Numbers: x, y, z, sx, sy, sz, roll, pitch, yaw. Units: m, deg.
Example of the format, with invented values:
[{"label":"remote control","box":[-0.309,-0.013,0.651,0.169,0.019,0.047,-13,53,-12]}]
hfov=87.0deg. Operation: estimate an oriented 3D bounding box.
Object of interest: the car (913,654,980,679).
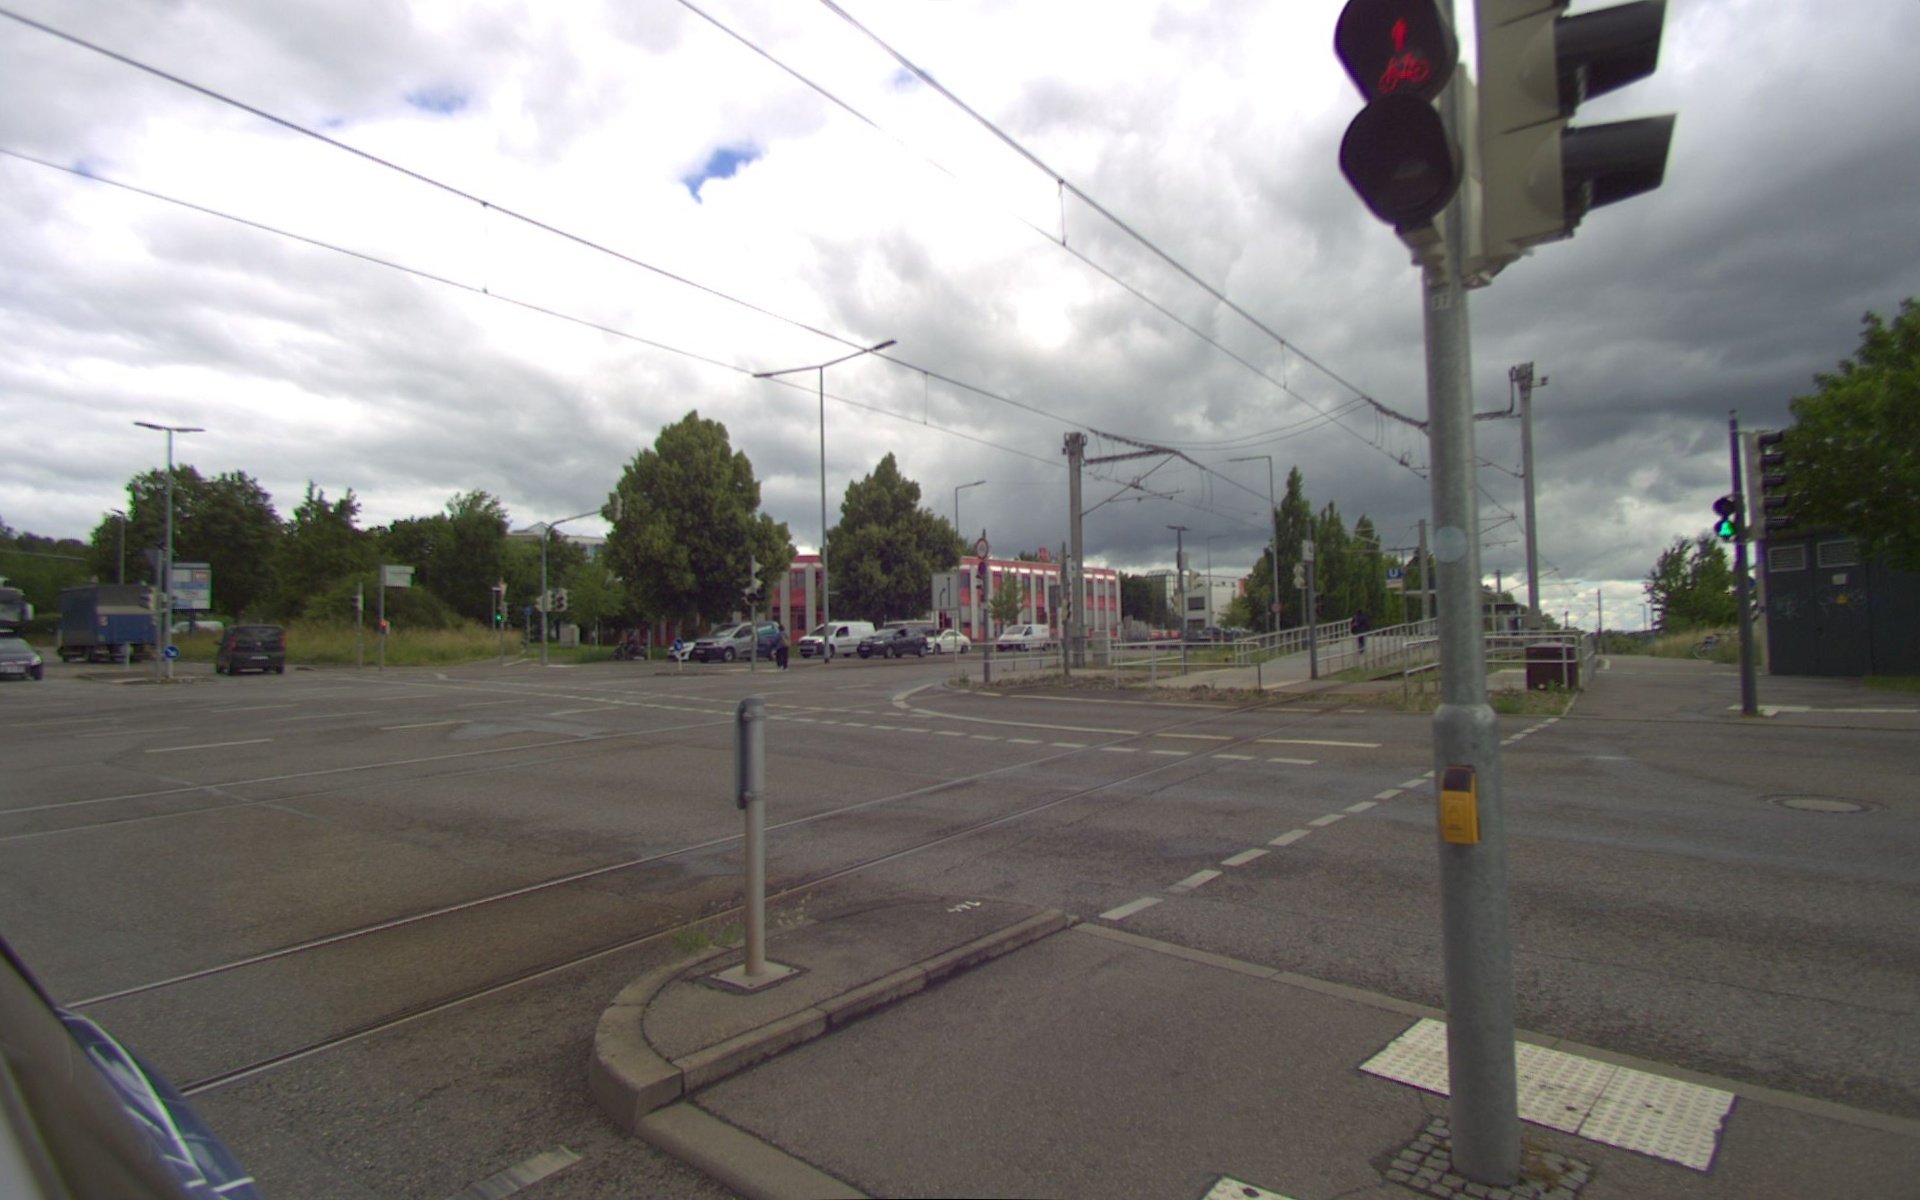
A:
[{"label":"car","box":[-0.738,3.842,58.086,1.810,1.351,4.173,-3,-6,34]}]

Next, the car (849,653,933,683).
[{"label":"car","box":[-3.285,3.340,49.179,1.811,1.351,4.170,-3,-6,36]}]

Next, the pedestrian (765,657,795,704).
[{"label":"pedestrian","box":[-6.058,2.709,34.109,0.715,1.542,0.661,-4,-3,40]}]

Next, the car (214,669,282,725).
[{"label":"car","box":[-27.116,3.630,38.659,1.966,1.891,4.904,0,-3,-33]}]

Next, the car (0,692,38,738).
[{"label":"car","box":[-33.852,4.034,35.545,3.862,1.453,1.615,-3,-3,39]}]

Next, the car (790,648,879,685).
[{"label":"car","box":[-6.276,3.345,51.121,1.811,1.806,4.639,-3,-4,36]}]

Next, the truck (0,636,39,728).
[{"label":"truck","box":[-39.968,3.331,40.965,5.952,3.545,3.035,-3,-2,38]}]

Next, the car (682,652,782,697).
[{"label":"car","box":[-10.057,3.267,44.889,1.812,1.794,4.169,-3,-3,37]}]

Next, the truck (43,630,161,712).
[{"label":"truck","box":[-43.341,3.535,51.036,8.374,3.833,2.753,-3,-3,37]}]

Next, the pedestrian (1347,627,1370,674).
[{"label":"pedestrian","box":[13.825,1.748,35.071,0.563,1.584,0.539,-3,-1,35]}]

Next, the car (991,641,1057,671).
[{"label":"car","box":[4.489,3.886,70.595,1.949,1.920,5.168,-3,-3,39]}]

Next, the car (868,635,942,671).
[{"label":"car","box":[-3.253,3.204,60.576,2.179,1.920,4.402,-3,-6,34]}]

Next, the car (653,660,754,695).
[{"label":"car","box":[-12.513,3.793,49.607,4.446,1.431,1.837,0,-5,-44]}]

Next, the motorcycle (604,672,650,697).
[{"label":"motorcycle","box":[-15.545,3.939,47.209,2.034,1.099,0.762,0,-4,-19]}]

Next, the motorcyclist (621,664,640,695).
[{"label":"motorcyclist","box":[-15.396,3.713,47.261,0.803,1.432,0.762,0,-4,-19]}]
